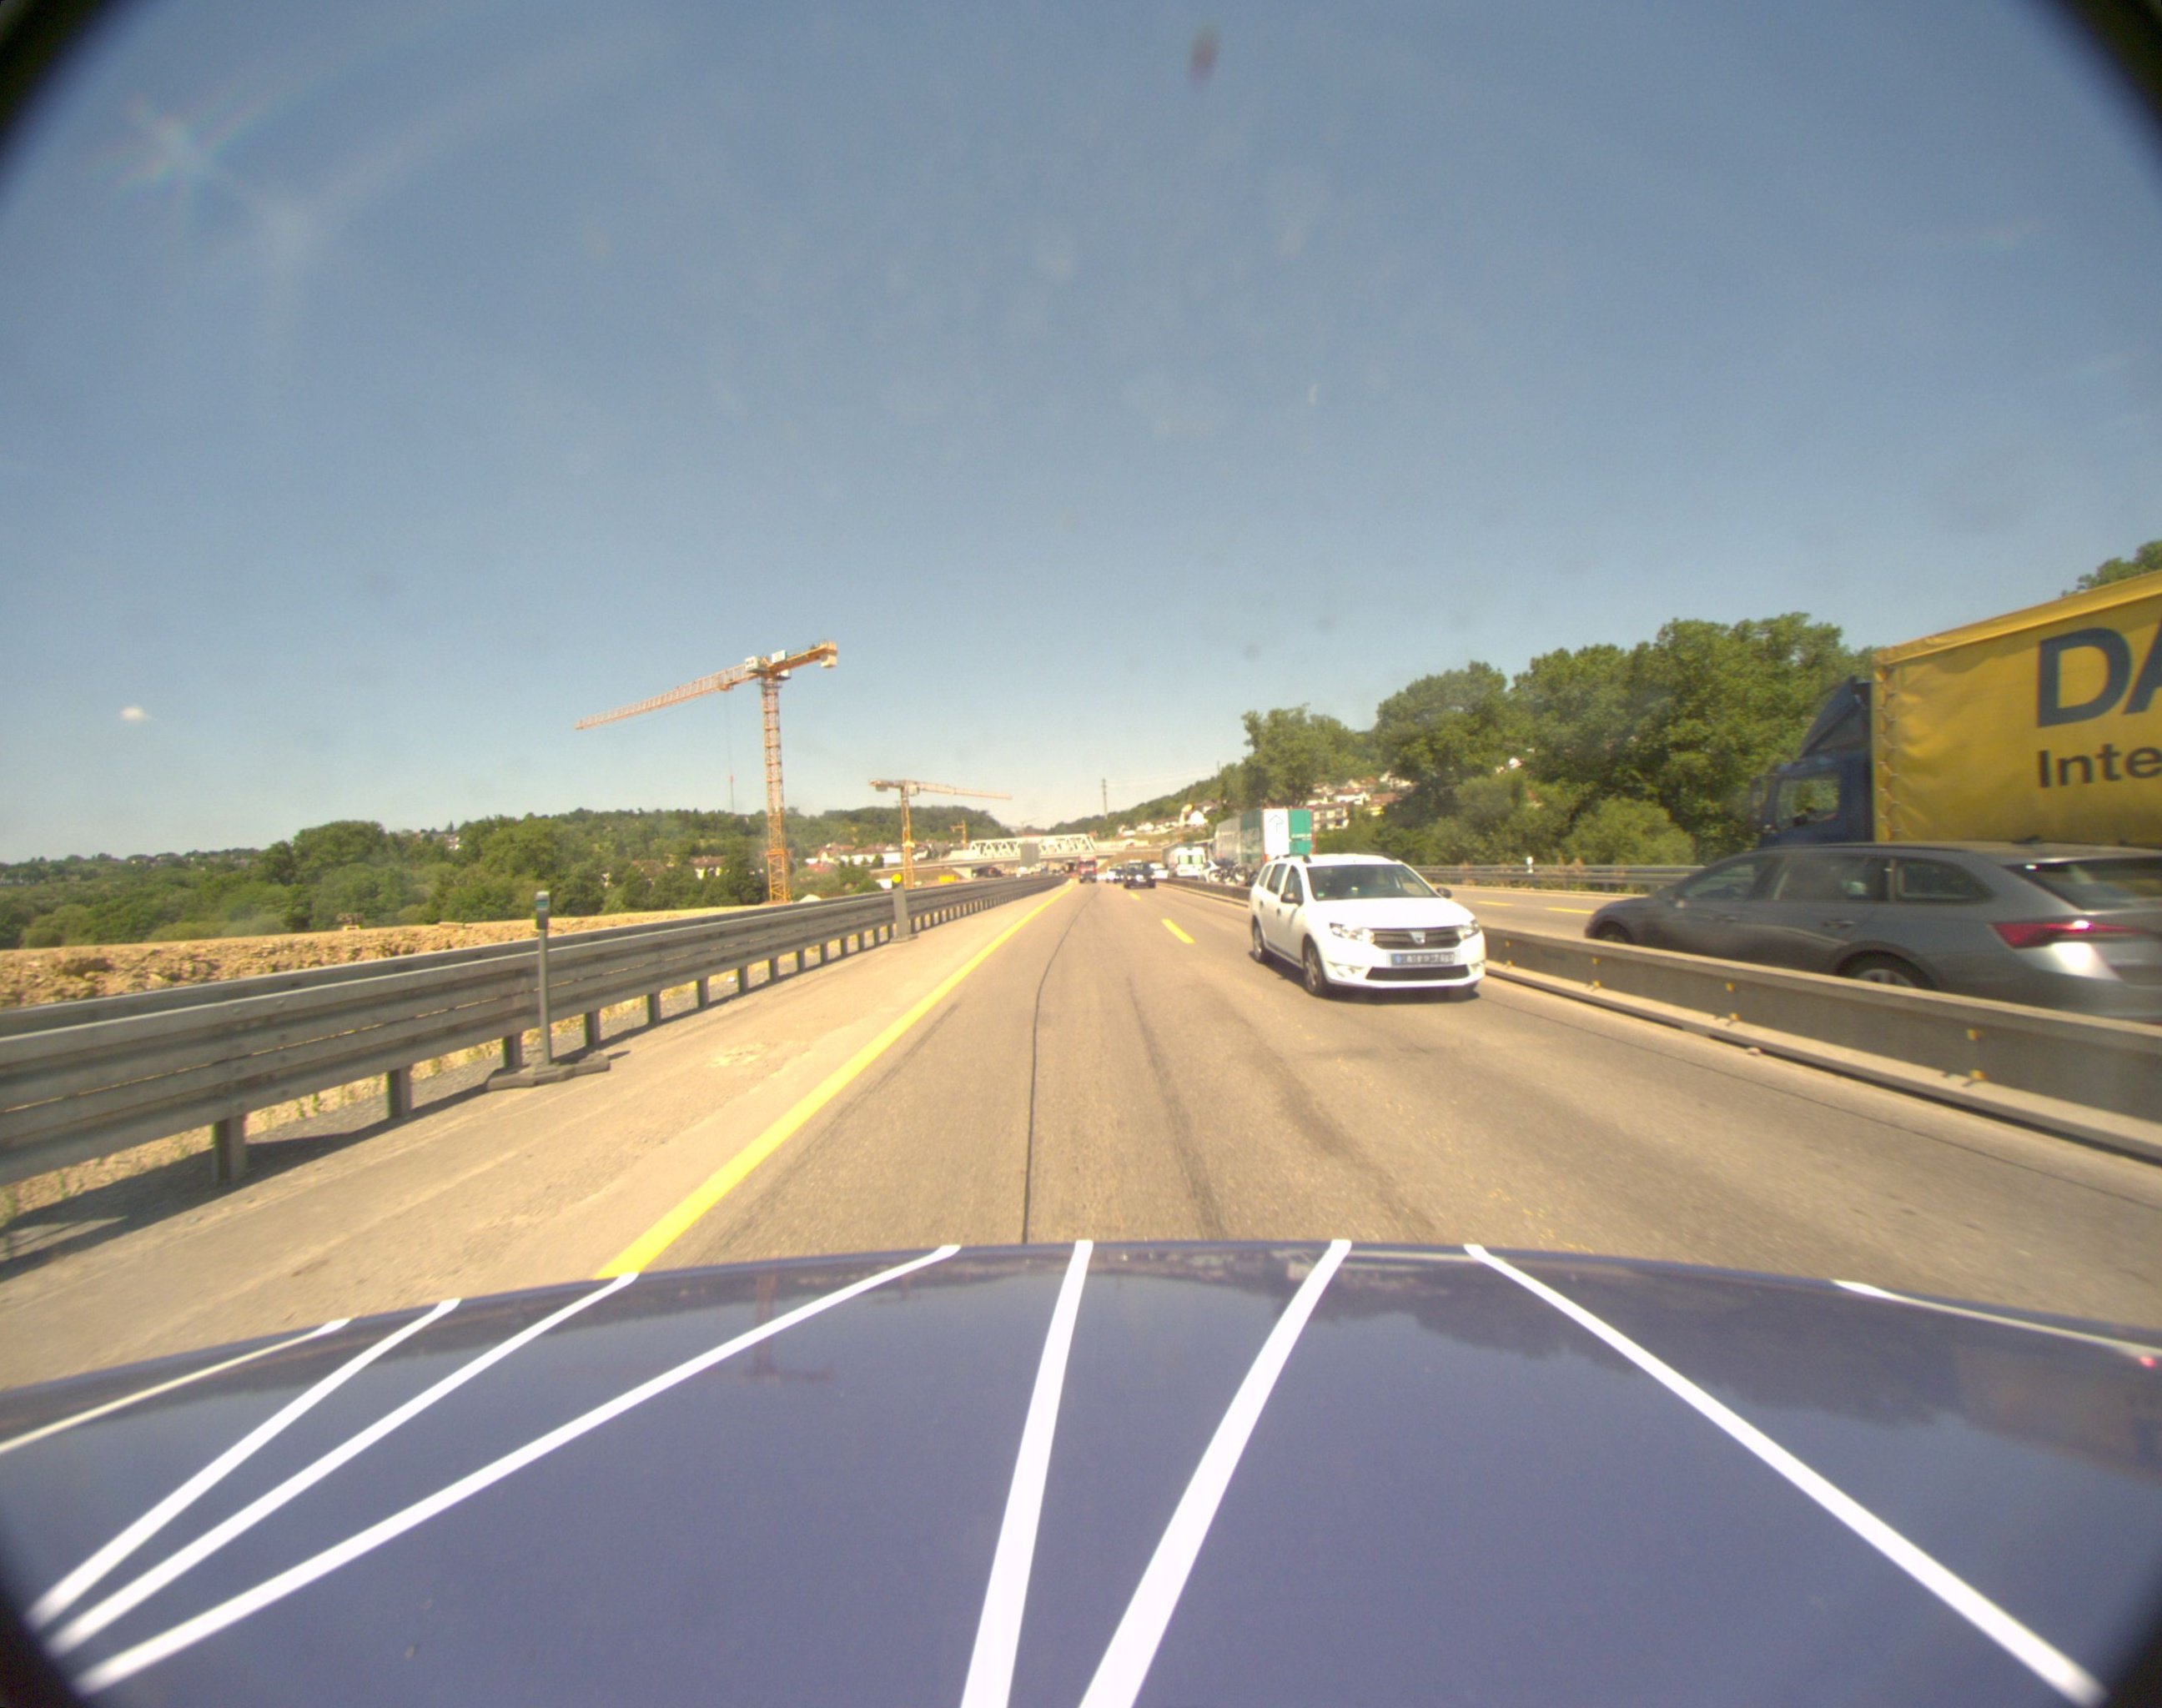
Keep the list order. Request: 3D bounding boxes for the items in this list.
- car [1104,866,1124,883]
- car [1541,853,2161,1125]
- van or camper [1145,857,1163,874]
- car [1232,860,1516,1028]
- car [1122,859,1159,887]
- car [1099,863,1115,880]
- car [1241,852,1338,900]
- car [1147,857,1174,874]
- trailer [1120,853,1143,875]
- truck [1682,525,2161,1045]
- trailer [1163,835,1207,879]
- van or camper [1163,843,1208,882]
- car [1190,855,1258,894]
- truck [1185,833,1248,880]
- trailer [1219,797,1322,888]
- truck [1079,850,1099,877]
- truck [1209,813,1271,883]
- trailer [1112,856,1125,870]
[{"bbox_3d":[3.228,2.063,75.296,1.791,1.577,4.001,-4,-2,1],"label":"car"},{"bbox_3d":[6.446,0.768,6.617,1.864,1.485,4.904,0,-1,-1],"label":"car"},{"bbox_3d":[12.055,1.875,126.206,2.510,2.682,5.245,-2,-2,1],"label":"van or camper"},{"bbox_3d":[3.251,0.879,9.579,1.823,1.521,4.706,-2,0,1],"label":"car"},{"bbox_3d":[3.722,1.198,48.192,1.862,1.682,4.098,-1,-1,-1],"label":"car"},{"bbox_3d":[3.236,2.200,93.934,1.791,1.870,4.001,-4,-2,1],"label":"car"},{"bbox_3d":[6.852,0.682,25.586,1.887,1.423,5.125,0,0,0],"label":"car"},{"bbox_3d":[7.343,1.103,70.759,1.998,1.489,4.976,0,-1,1],"label":"car"},{"bbox_3d":[10.363,2.222,158.137,2.815,4.150,11.796,-2,-2,-6],"label":"trailer"},{"bbox_3d":[10.001,-0.589,5.794,2.809,4.127,10.080,-2,0,1],"label":"truck"},{"bbox_3d":[11.225,0.500,83.231,3.109,4.437,13.023,-1,-2,1],"label":"trailer"},{"bbox_3d":[7.282,0.668,53.715,2.224,2.496,6.535,-2,-2,0],"label":"van or camper"},{"bbox_3d":[7.184,1.061,38.880,2.377,1.715,5.783,-2,-2,1],"label":"car"},{"bbox_3d":[11.890,0.333,67.444,2.913,3.741,8.365,-3,-2,-8],"label":"truck"},{"bbox_3d":[10.466,-0.461,43.843,2.822,4.403,13.170,-1,-1,1],"label":"trailer"},{"bbox_3d":[1.171,1.436,111.545,2.702,3.704,8.510,-2,-1,1],"label":"truck"},{"bbox_3d":[10.588,-0.311,51.296,2.813,4.365,6.227,-2,-2,1],"label":"truck"},{"bbox_3d":[9.976,2.438,202.187,2.801,3.651,8.956,-1,0,-1],"label":"trailer"}]
